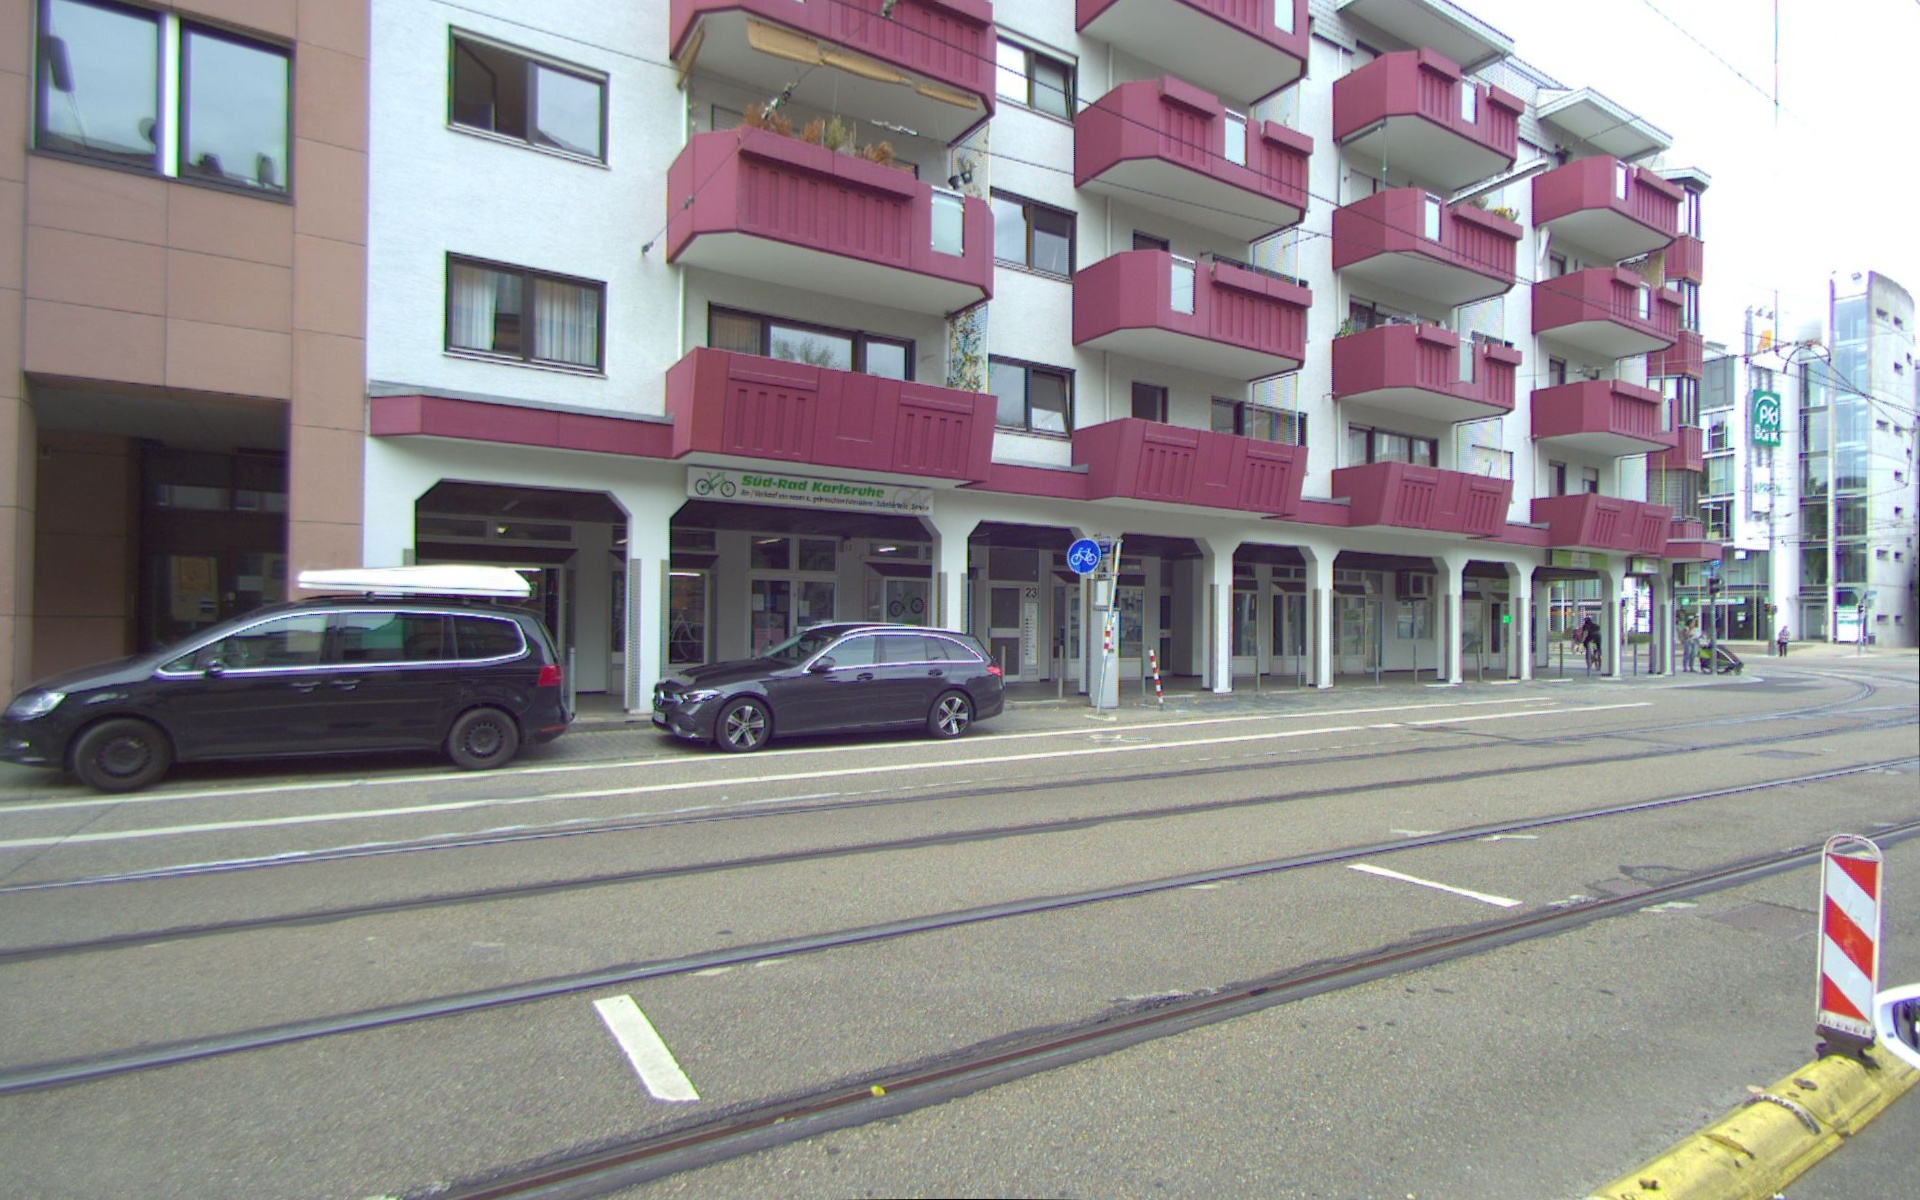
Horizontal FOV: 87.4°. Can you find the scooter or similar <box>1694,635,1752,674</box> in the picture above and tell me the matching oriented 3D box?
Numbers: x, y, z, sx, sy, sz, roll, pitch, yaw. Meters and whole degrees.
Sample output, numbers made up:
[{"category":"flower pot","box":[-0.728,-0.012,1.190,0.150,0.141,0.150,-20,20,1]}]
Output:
[{"category":"scooter or similar","box":[23.903,1.683,31.484,0.936,1.143,1.189,1,0,-32]}]

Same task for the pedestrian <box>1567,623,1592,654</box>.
[{"category":"pedestrian","box":[34.401,2.131,55.762,0.753,1.693,0.935,1,-1,-17]}]

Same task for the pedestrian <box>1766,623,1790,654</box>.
[{"category":"pedestrian","box":[49.514,2.324,60.789,0.754,1.889,0.833,1,-1,-17]}]

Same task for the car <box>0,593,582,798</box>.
[{"category":"car","box":[-6.477,0.822,10.242,4.645,1.669,1.797,1,1,-32]}]

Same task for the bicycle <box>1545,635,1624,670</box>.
[{"category":"bicycle","box":[20.746,1.716,33.448,0.752,1.101,2.354,1,-1,-16]}]

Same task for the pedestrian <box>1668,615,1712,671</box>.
[{"category":"pedestrian","box":[23.418,1.367,32.223,0.803,1.766,0.942,1,-1,-33]}]

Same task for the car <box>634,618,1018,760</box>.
[{"category":"car","box":[-1.654,1.033,13.053,4.645,1.500,1.745,1,1,-32]}]

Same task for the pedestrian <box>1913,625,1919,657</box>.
[{"category":"pedestrian","box":[56.370,2.400,58.474,0.889,1.880,0.987,1,-1,-23]}]

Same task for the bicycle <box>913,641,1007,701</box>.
[{"category":"bicycle","box":[0.008,1.199,17.344,1.636,0.966,0.560,1,-1,-39]}]

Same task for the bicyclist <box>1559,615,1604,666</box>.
[{"category":"bicyclist","box":[20.730,1.355,33.497,0.740,1.673,1.052,1,-1,-16]}]
